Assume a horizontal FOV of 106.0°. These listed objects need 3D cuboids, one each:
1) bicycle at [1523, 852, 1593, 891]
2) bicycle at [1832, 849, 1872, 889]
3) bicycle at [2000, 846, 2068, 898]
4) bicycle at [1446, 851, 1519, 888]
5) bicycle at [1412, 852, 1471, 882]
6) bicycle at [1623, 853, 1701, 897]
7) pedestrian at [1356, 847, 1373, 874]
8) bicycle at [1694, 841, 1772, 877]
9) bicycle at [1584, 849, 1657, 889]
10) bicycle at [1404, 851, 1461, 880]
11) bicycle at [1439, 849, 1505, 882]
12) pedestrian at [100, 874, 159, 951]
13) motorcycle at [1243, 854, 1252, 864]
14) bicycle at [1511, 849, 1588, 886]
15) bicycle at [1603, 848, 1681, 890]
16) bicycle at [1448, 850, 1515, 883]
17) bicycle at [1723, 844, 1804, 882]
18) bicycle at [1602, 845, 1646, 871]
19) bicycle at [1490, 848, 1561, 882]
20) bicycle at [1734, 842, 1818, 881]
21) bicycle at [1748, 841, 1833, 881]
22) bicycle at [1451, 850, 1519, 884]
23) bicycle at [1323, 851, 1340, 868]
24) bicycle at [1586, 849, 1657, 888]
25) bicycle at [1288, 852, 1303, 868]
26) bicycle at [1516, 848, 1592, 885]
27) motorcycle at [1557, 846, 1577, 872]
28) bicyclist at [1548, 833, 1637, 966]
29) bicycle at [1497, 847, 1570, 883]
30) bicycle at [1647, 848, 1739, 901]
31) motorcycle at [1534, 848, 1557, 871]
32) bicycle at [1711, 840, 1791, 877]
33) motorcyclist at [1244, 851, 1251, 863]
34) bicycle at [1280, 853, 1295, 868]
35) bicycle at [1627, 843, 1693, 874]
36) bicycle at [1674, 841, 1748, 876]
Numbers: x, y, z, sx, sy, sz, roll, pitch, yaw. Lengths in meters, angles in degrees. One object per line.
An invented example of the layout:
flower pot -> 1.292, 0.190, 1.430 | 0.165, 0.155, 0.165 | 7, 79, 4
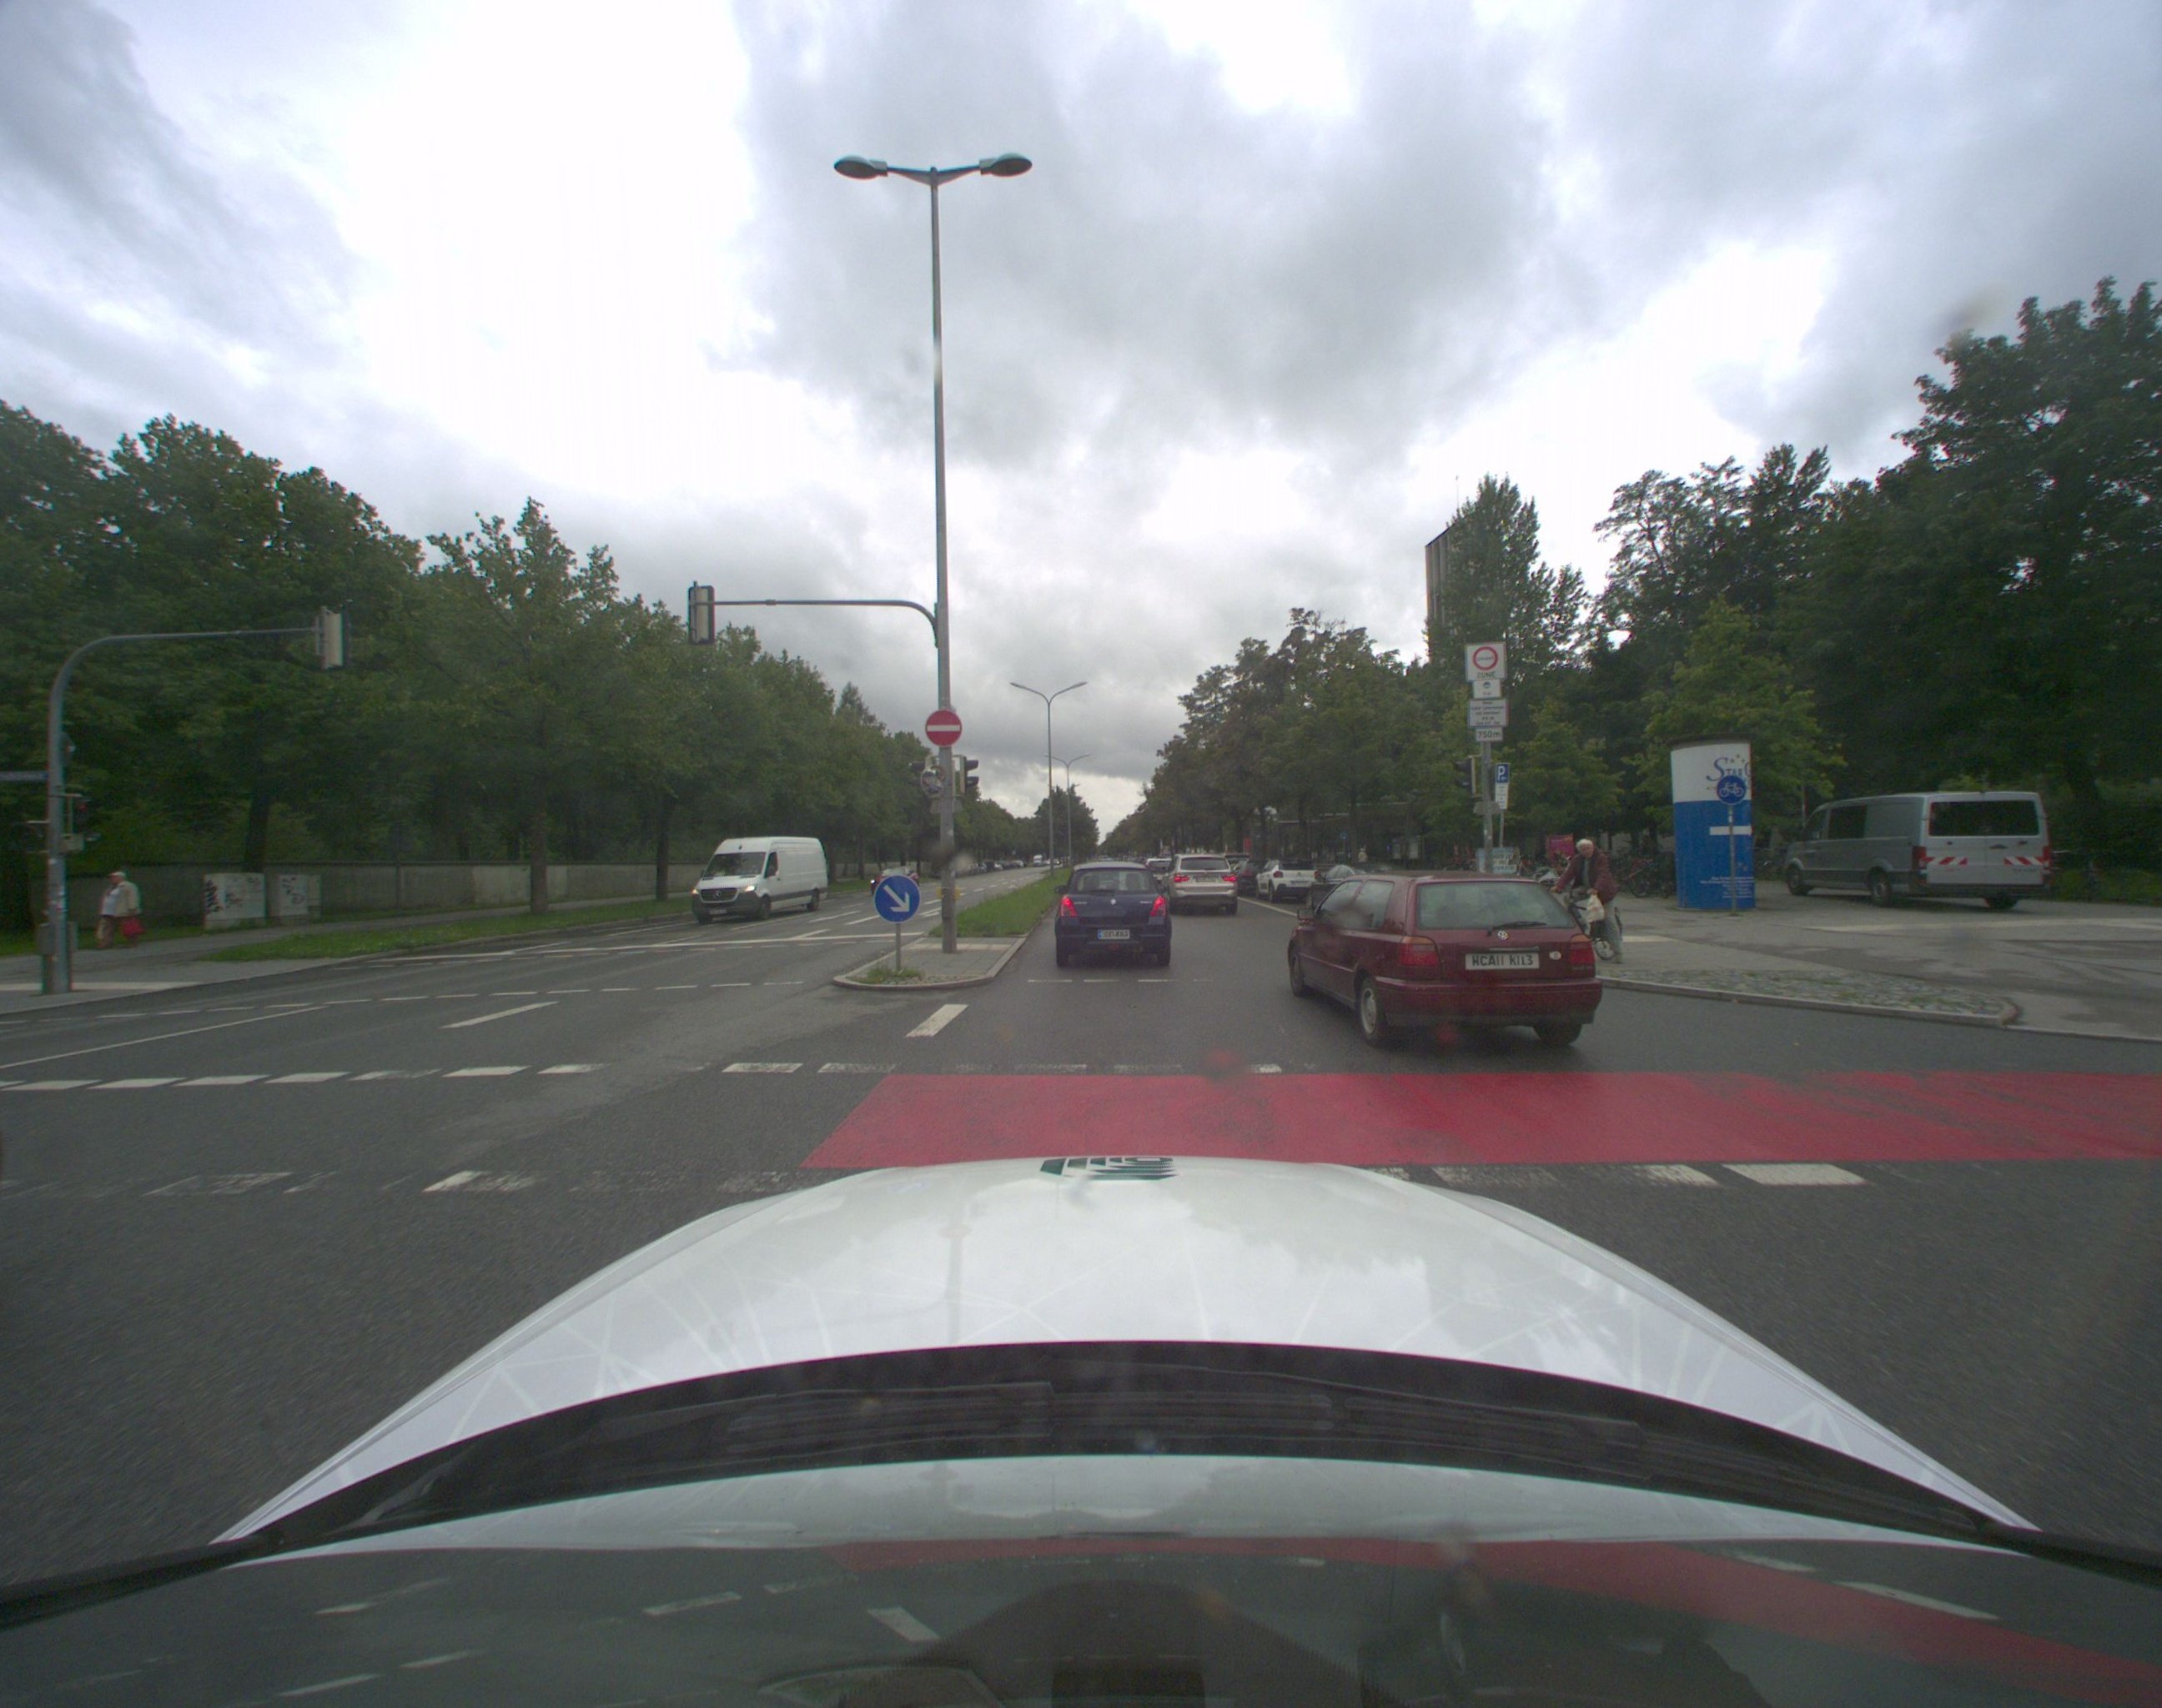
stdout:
bicycle -> 15.239, 0.554, 26.049 | 1.797, 1.142, 0.568 | -3, -1, 6
bicycle -> 23.840, 0.456, 25.165 | 2.140, 1.153, 0.710 | -1, -1, -42
bicycle -> 22.521, 0.407, 19.288 | 0.709, 1.153, 2.142 | -2, -1, 41
bicycle -> 14.650, 0.557, 29.737 | 2.330, 1.157, 0.585 | -4, 0, 0
bicycle -> 15.989, 0.569, 36.115 | 2.330, 1.157, 0.529 | -4, 0, 0
bicycle -> 15.493, 0.559, 21.734 | 1.807, 1.071, 0.565 | -3, -1, -11
pedestrian -> 16.399, 0.389, 47.103 | 0.580, 1.513, 0.690 | -1, -1, -17
bicycle -> 23.854, 0.166, 29.809 | 2.330, 1.157, 0.529 | -4, 0, 0
bicycle -> 16.752, 0.454, 25.308 | 1.799, 1.142, 0.567 | -3, -1, 1
bicycle -> 16.015, 0.509, 37.137 | 2.330, 1.157, 0.529 | -4, 0, 0
bicycle -> 15.709, 0.473, 32.708 | 2.330, 1.157, 0.529 | -4, 0, 0
pedestrian -> -22.073, 1.339, 18.897 | 0.706, 1.740, 0.516 | -1, -1, -4
motorcycle -> 24.586, 0.719, 120.255 | 0.693, 1.290, 2.067 | -6, -1, 1
bicycle -> 16.484, 0.469, 28.688 | 2.330, 1.157, 0.585 | -4, 0, 0
bicycle -> 16.647, 0.450, 24.191 | 1.797, 1.142, 0.568 | -3, -1, 6
bicycle -> 15.816, 0.488, 32.157 | 2.330, 1.157, 0.529 | -4, 0, 0
bicycle -> 23.789, 0.314, 28.394 | 2.330, 1.157, 0.529 | -4, 0, 0
bicycle -> 25.136, 0.165, 37.749 | 0.525, 1.157, 2.348 | -4, 0, 4
bicycle -> 16.905, 0.413, 31.020 | 2.330, 1.157, 0.585 | -4, 0, 0
bicycle -> 23.718, 0.258, 27.808 | 2.330, 1.157, 0.529 | -4, 0, 0
bicycle -> 23.695, 0.237, 27.217 | 2.330, 1.157, 0.529 | -4, 0, 0
bicycle -> 15.663, 0.499, 31.607 | 2.330, 1.157, 0.529 | -4, 0, 0
bicycle -> 20.036, 0.458, 65.189 | 0.643, 1.280, 2.551 | -2, 0, 1
bicycle -> 17.199, 0.448, 25.932 | 1.799, 1.142, 0.567 | -3, -1, 1
bicycle -> 18.585, 0.522, 70.517 | 0.643, 1.280, 2.551 | -2, 0, 1
bicycle -> 17.035, 0.451, 29.334 | 2.330, 1.157, 0.585 | -4, 0, 0
motorcycle -> 22.980, 0.233, 38.524 | 0.650, 1.177, 1.824 | -2, 0, 26
bicyclist -> 7.123, 0.602, 11.349 | 0.831, 1.764, 0.738 | -1, -1, -34
bicycle -> 16.897, 0.410, 30.411 | 2.330, 1.157, 0.585 | -4, 0, 0
bicycle -> 15.073, 0.493, 20.130 | 0.857, 1.198, 2.002 | -3, -1, 5
motorcycle -> 22.294, 0.253, 39.109 | 0.650, 1.062, 1.825 | -2, 0, 39
bicycle -> 23.913, 0.163, 29.084 | 2.330, 1.157, 0.529 | -4, 0, 0
motorcyclist -> 24.536, 0.414, 120.033 | 0.688, 1.737, 0.953 | -6, -1, 1
bicycle -> 17.869, 0.541, 70.551 | 0.643, 1.280, 2.551 | -2, 0, 1
bicycle -> 24.383, 0.181, 34.333 | 2.330, 1.157, 0.529 | -4, 0, 0
bicycle -> 23.852, 0.170, 30.866 | 2.330, 1.157, 0.529 | -4, 0, 0
